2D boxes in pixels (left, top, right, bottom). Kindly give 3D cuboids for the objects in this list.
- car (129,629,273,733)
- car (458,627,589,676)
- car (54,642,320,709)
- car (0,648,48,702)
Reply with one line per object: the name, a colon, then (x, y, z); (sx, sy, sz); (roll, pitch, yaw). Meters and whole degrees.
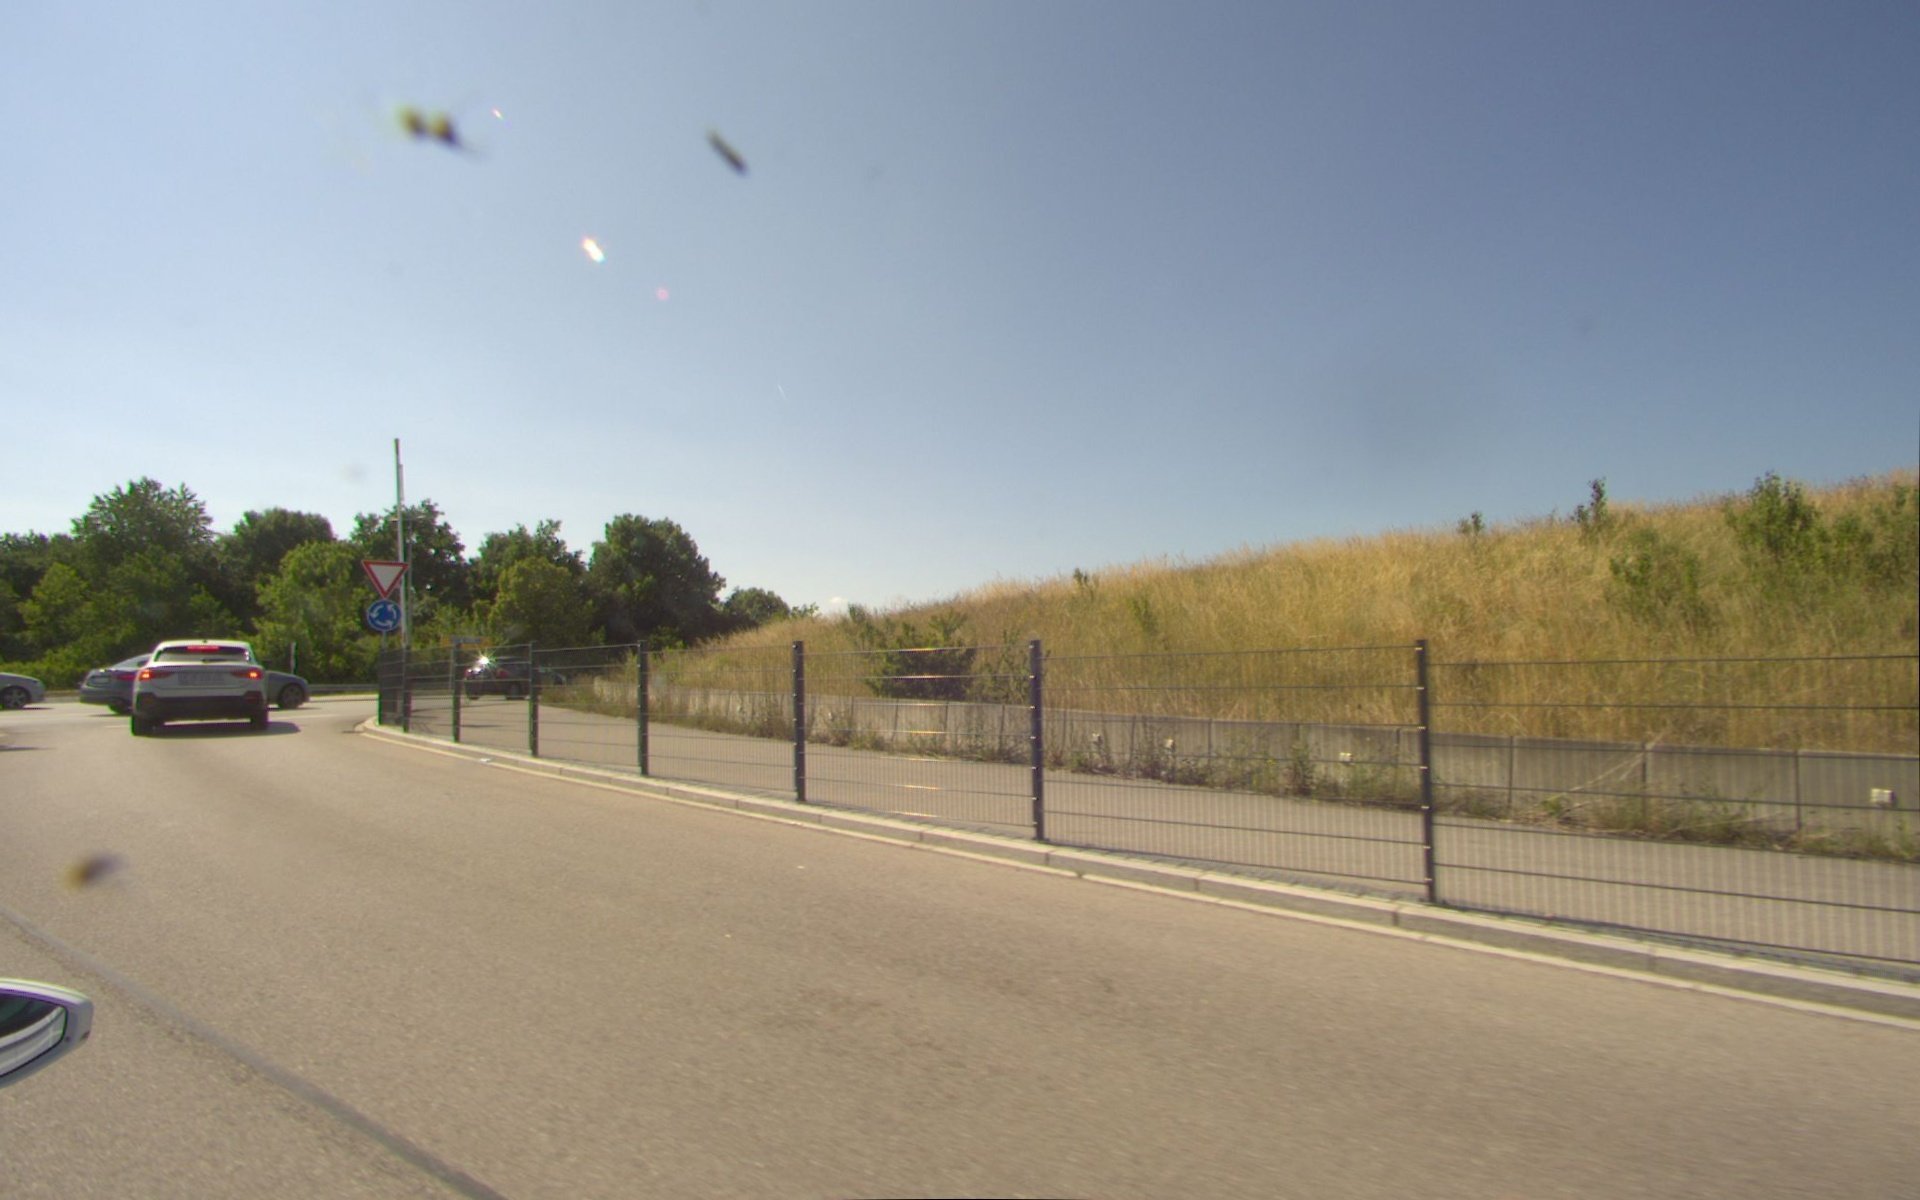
car: (-13.534, 1.390, 17.839); (1.826, 1.615, 4.293); (2, -4, -38)
car: (-15.398, 1.881, 35.545); (1.792, 1.637, 3.945); (-2, -4, 31)
car: (-18.654, 1.838, 24.503); (1.964, 1.469, 4.870); (-1, -4, 18)
car: (-25.404, 1.868, 24.887); (1.510, 1.368, 3.753); (-2, -5, 32)
